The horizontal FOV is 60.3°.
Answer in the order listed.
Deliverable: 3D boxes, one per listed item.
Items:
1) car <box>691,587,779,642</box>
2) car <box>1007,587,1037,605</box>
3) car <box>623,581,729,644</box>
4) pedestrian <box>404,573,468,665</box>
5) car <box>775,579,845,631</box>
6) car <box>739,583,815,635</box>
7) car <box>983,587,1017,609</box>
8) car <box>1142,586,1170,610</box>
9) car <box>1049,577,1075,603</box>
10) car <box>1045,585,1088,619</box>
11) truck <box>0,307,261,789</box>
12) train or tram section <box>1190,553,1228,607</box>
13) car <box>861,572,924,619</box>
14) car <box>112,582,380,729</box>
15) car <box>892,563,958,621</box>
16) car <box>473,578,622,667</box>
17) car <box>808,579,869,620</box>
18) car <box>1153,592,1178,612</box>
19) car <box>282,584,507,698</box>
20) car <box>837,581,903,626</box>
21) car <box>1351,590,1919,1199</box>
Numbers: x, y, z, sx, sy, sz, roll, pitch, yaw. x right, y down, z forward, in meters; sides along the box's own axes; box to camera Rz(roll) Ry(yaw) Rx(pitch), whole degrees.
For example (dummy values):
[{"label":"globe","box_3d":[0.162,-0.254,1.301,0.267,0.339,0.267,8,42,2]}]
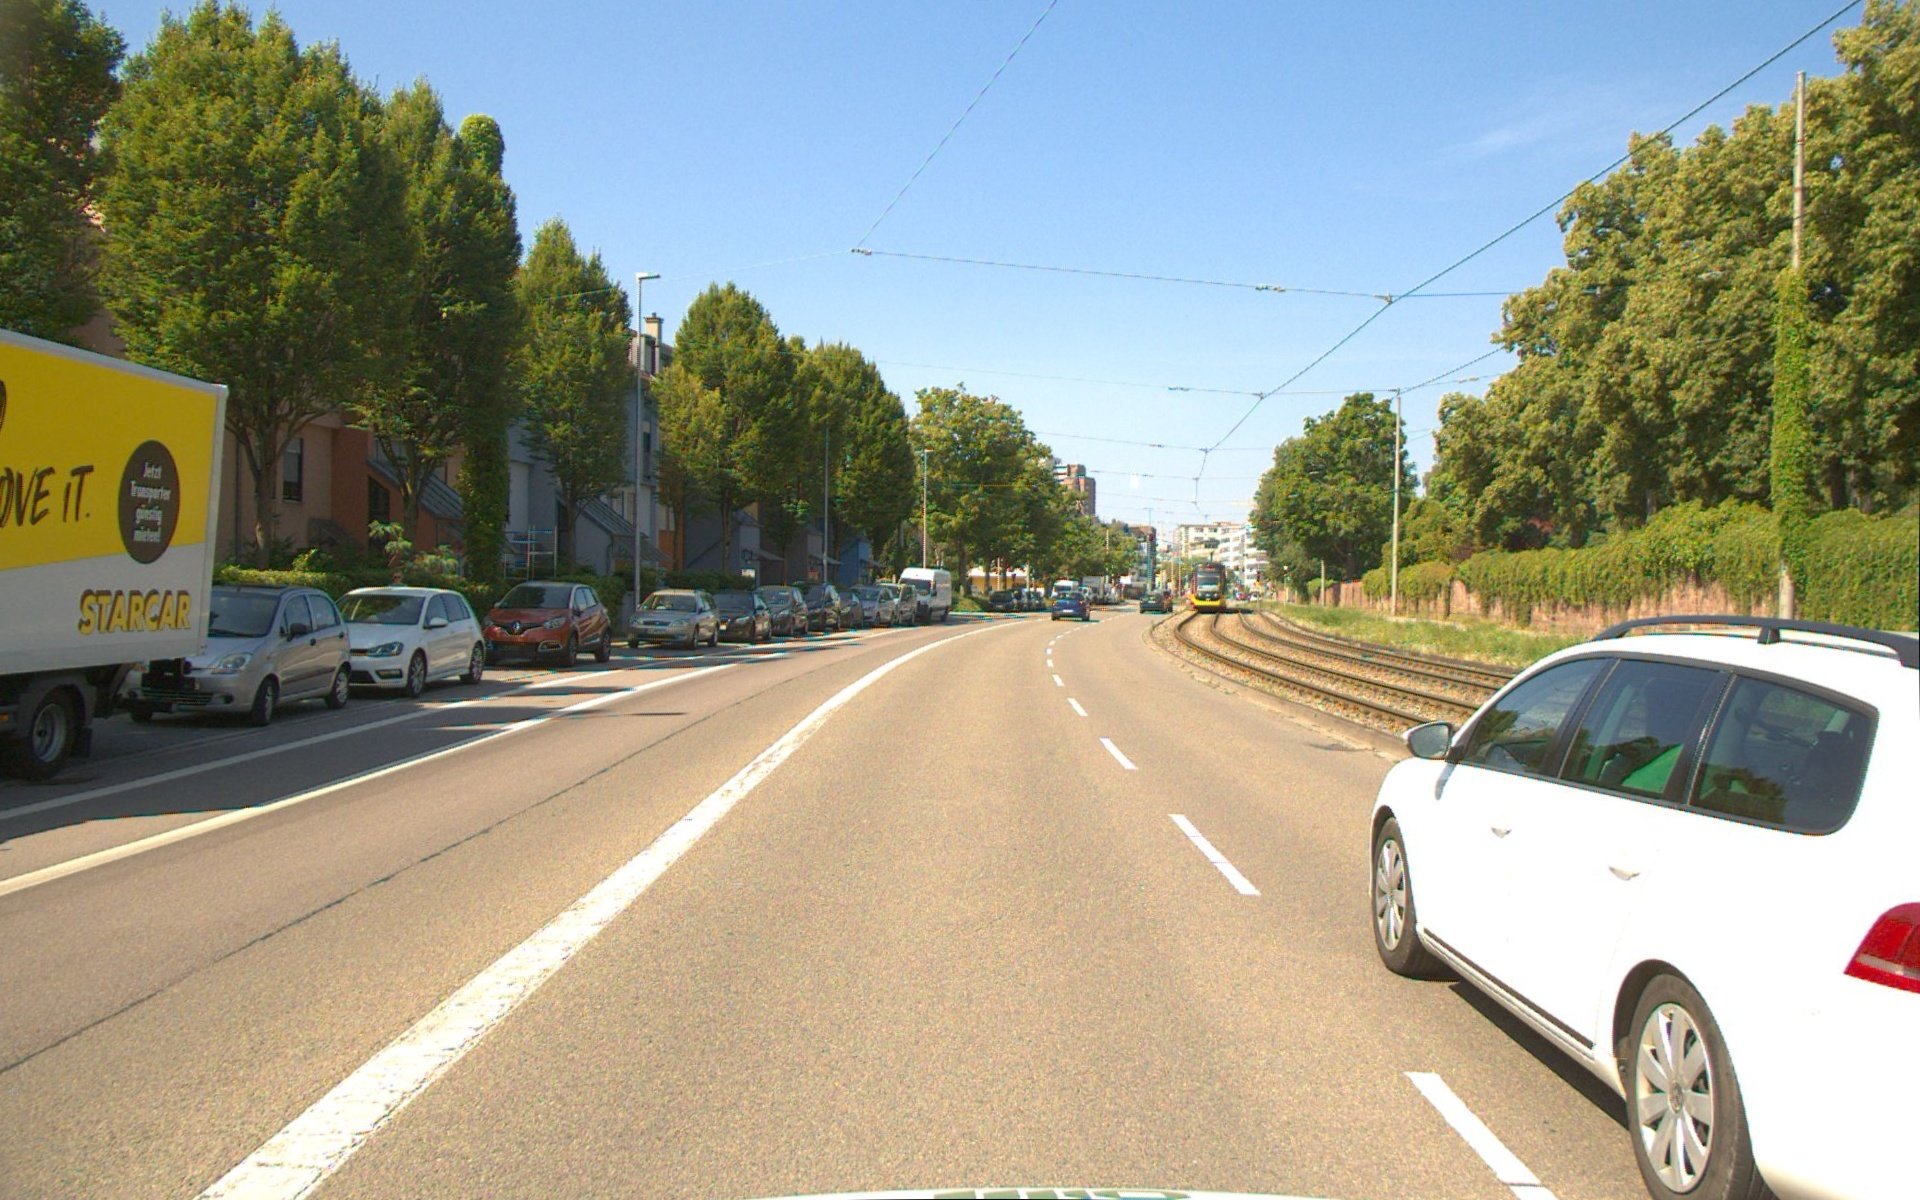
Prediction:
[{"label":"car","box_3d":[-6.714,0.400,49.882,1.687,1.500,4.717,2,1,3]},{"label":"car","box_3d":[4.843,-0.316,128.532,1.663,1.375,4.003,1,0,12]},{"label":"car","box_3d":[-7.380,0.300,43.411,1.743,1.509,4.858,2,0,2]},{"label":"pedestrian","box_3d":[-10.015,0.349,31.635,0.857,1.720,1.055,0,0,1]},{"label":"car","box_3d":[-5.502,0.159,61.197,1.732,1.753,4.872,3,1,4]},{"label":"car","box_3d":[-6.141,0.273,55.842,1.681,1.653,4.315,2,1,5]},{"label":"car","box_3d":[2.826,-0.149,115.781,1.663,1.442,4.003,1,0,12]},{"label":"car","box_3d":[13.285,-0.130,112.129,1.762,1.533,4.004,2,1,8]},{"label":"car","box_3d":[10.022,-1.004,162.419,1.840,2.458,5.120,1,0,12]},{"label":"car","box_3d":[5.301,0.088,81.694,1.762,1.533,4.004,2,2,8]},{"label":"truck","box_3d":[-8.455,-0.424,12.339,2.612,3.591,8.592,2,1,1]},{"label":"train or tram section","box_3d":[18.911,-1.486,125.089,2.457,3.812,13.322,0,0,10]},{"label":"car","box_3d":[-3.113,-0.208,77.488,1.879,1.982,5.359,3,1,9]},{"label":"car","box_3d":[-8.268,0.576,19.487,1.577,1.509,3.635,2,1,-1]},{"label":"car","box_3d":[-1.754,-0.425,85.780,1.952,2.761,7.163,3,1,10]},{"label":"car","box_3d":[-8.004,0.384,32.454,1.695,1.579,4.319,2,1,2]},{"label":"car","box_3d":[-4.872,-0.024,66.804,1.655,1.500,4.051,3,1,6]},{"label":"car","box_3d":[15.654,0.133,125.736,1.762,1.485,4.003,1,1,8]},{"label":"car","box_3d":[-8.139,0.523,24.226,1.721,1.454,4.282,2,1,1]},{"label":"car","box_3d":[-3.874,0.141,71.880,1.762,1.754,4.913,4,1,9]},{"label":"car","box_3d":[2.607,0.731,5.185,1.657,1.476,4.458,1,1,-1]}]
